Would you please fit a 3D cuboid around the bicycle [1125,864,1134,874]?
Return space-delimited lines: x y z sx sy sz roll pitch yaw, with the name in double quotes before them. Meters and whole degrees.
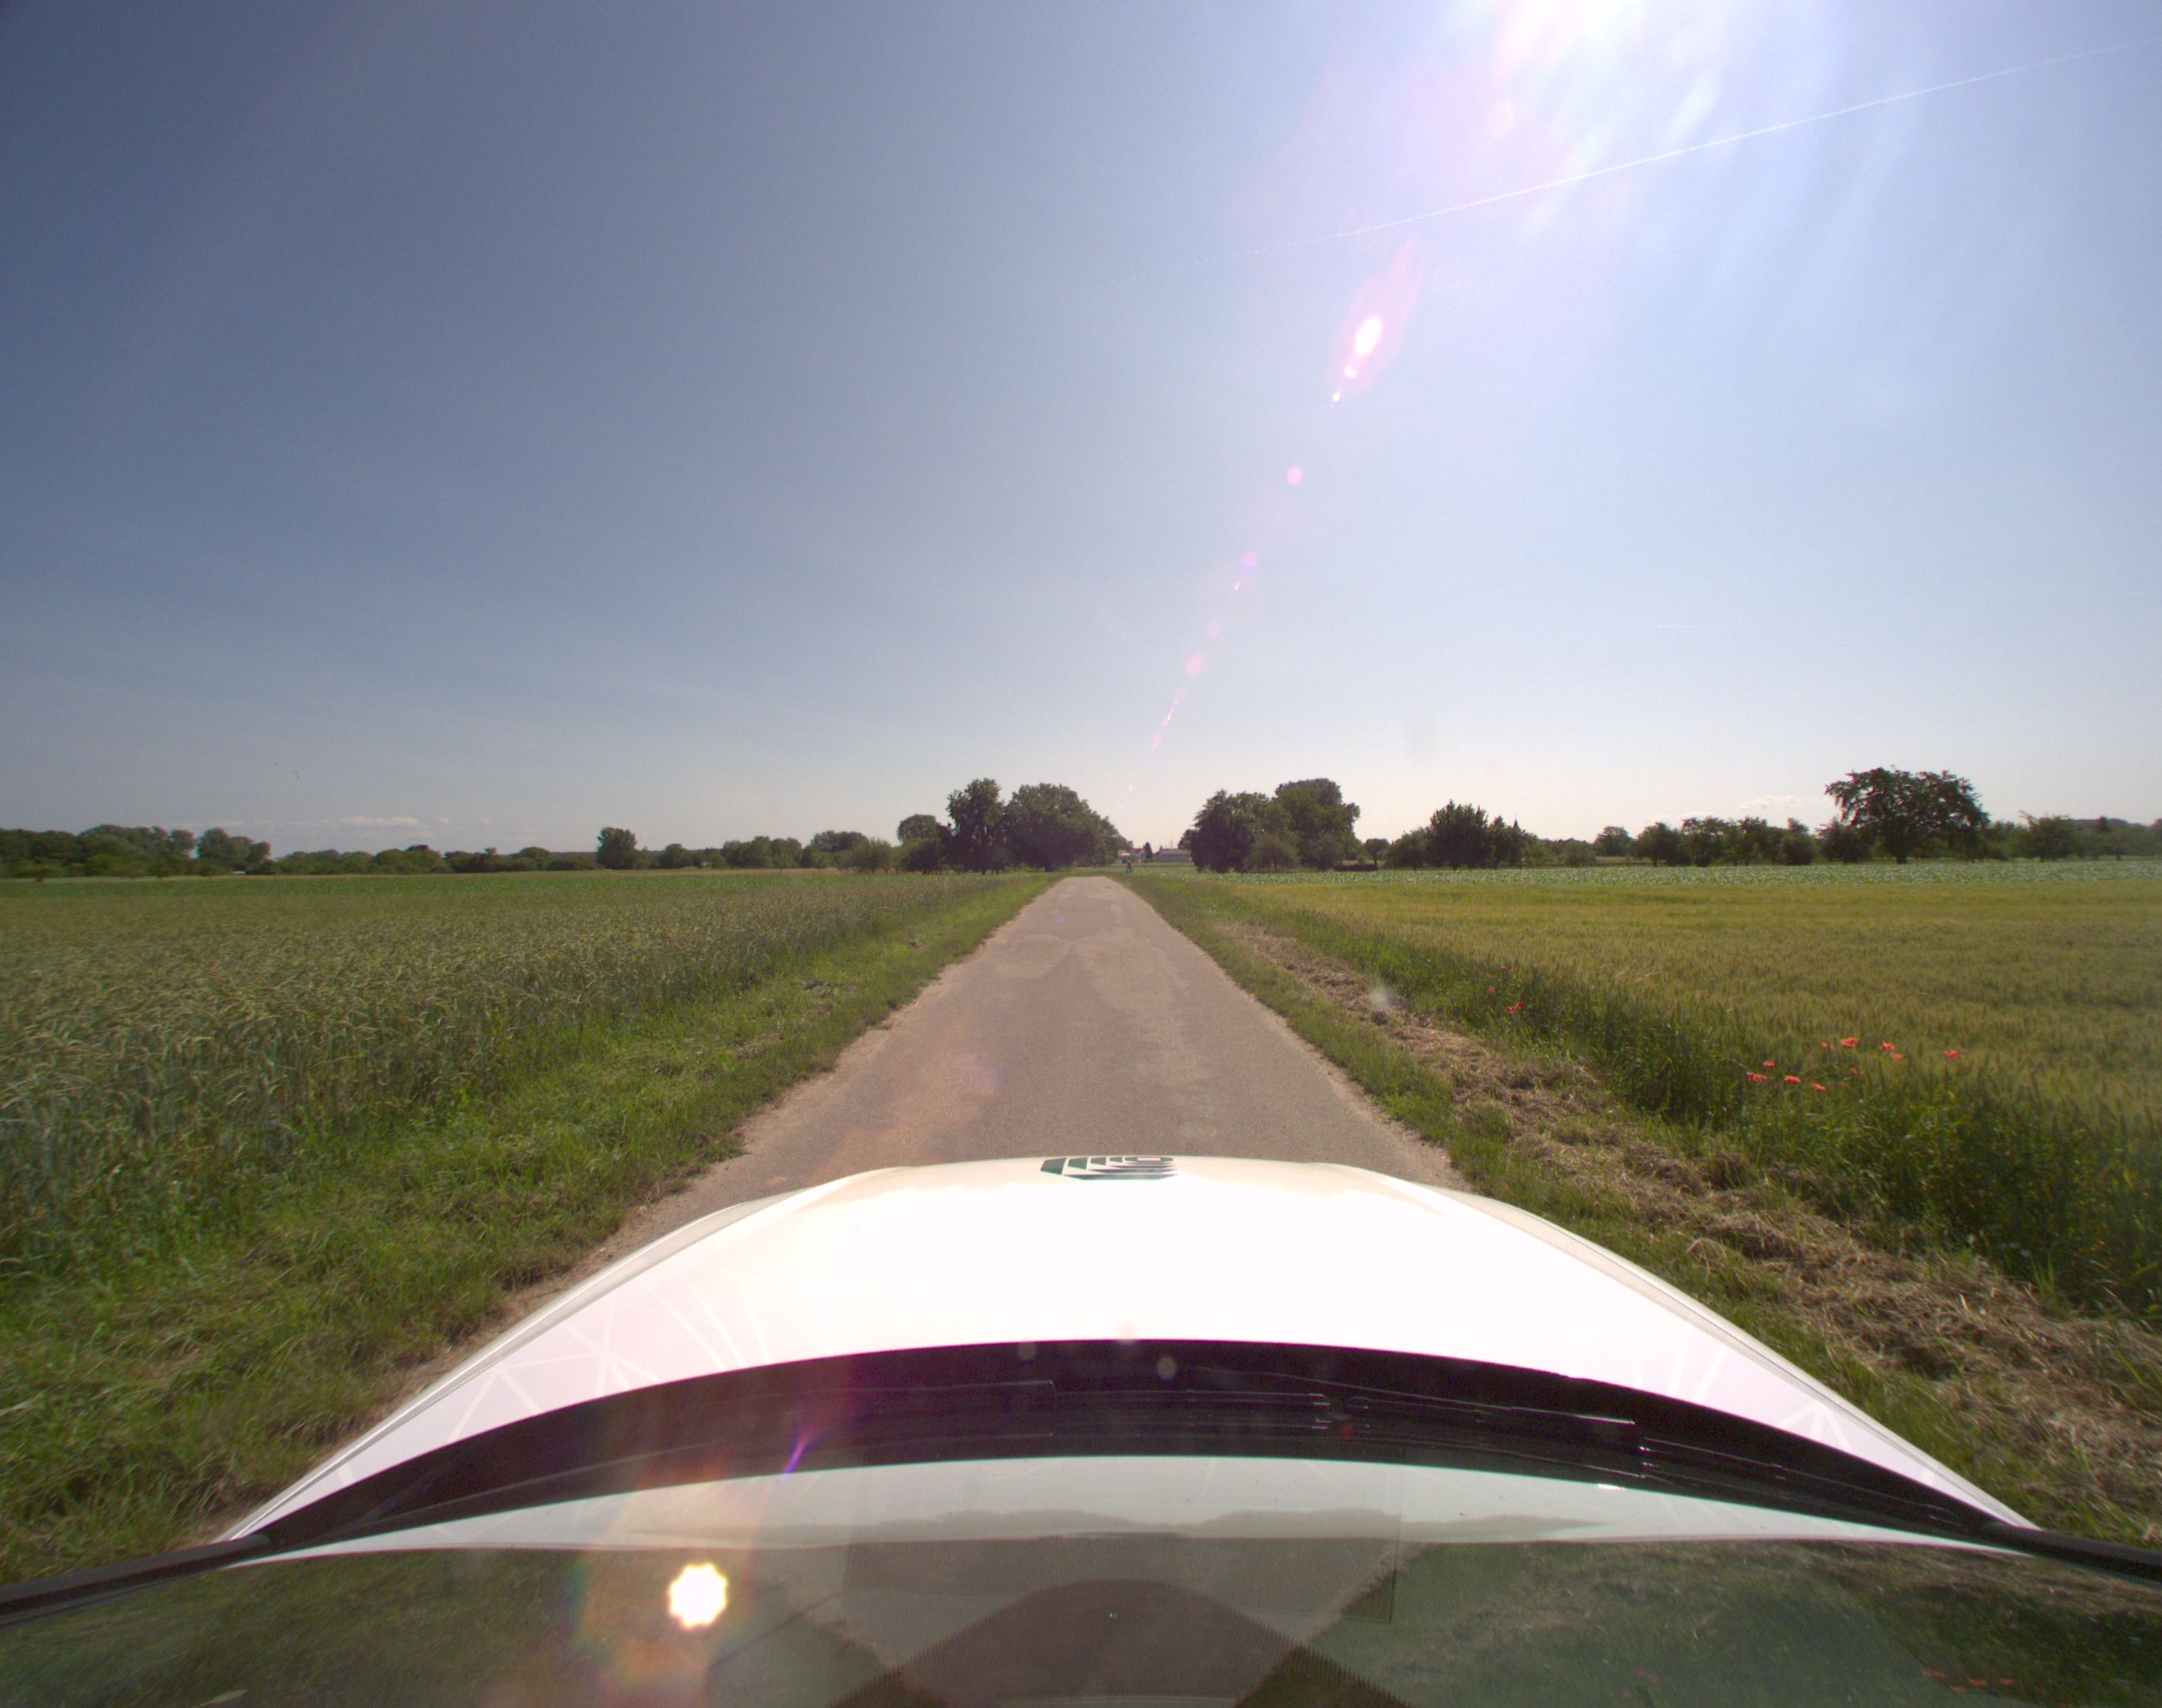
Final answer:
"bicycle" 5.867 1.790 98.664 0.745 1.127 1.915 -3 -1 14

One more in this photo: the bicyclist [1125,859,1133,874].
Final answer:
"bicyclist" 5.858 1.468 98.674 0.745 1.791 0.719 -3 -1 13
